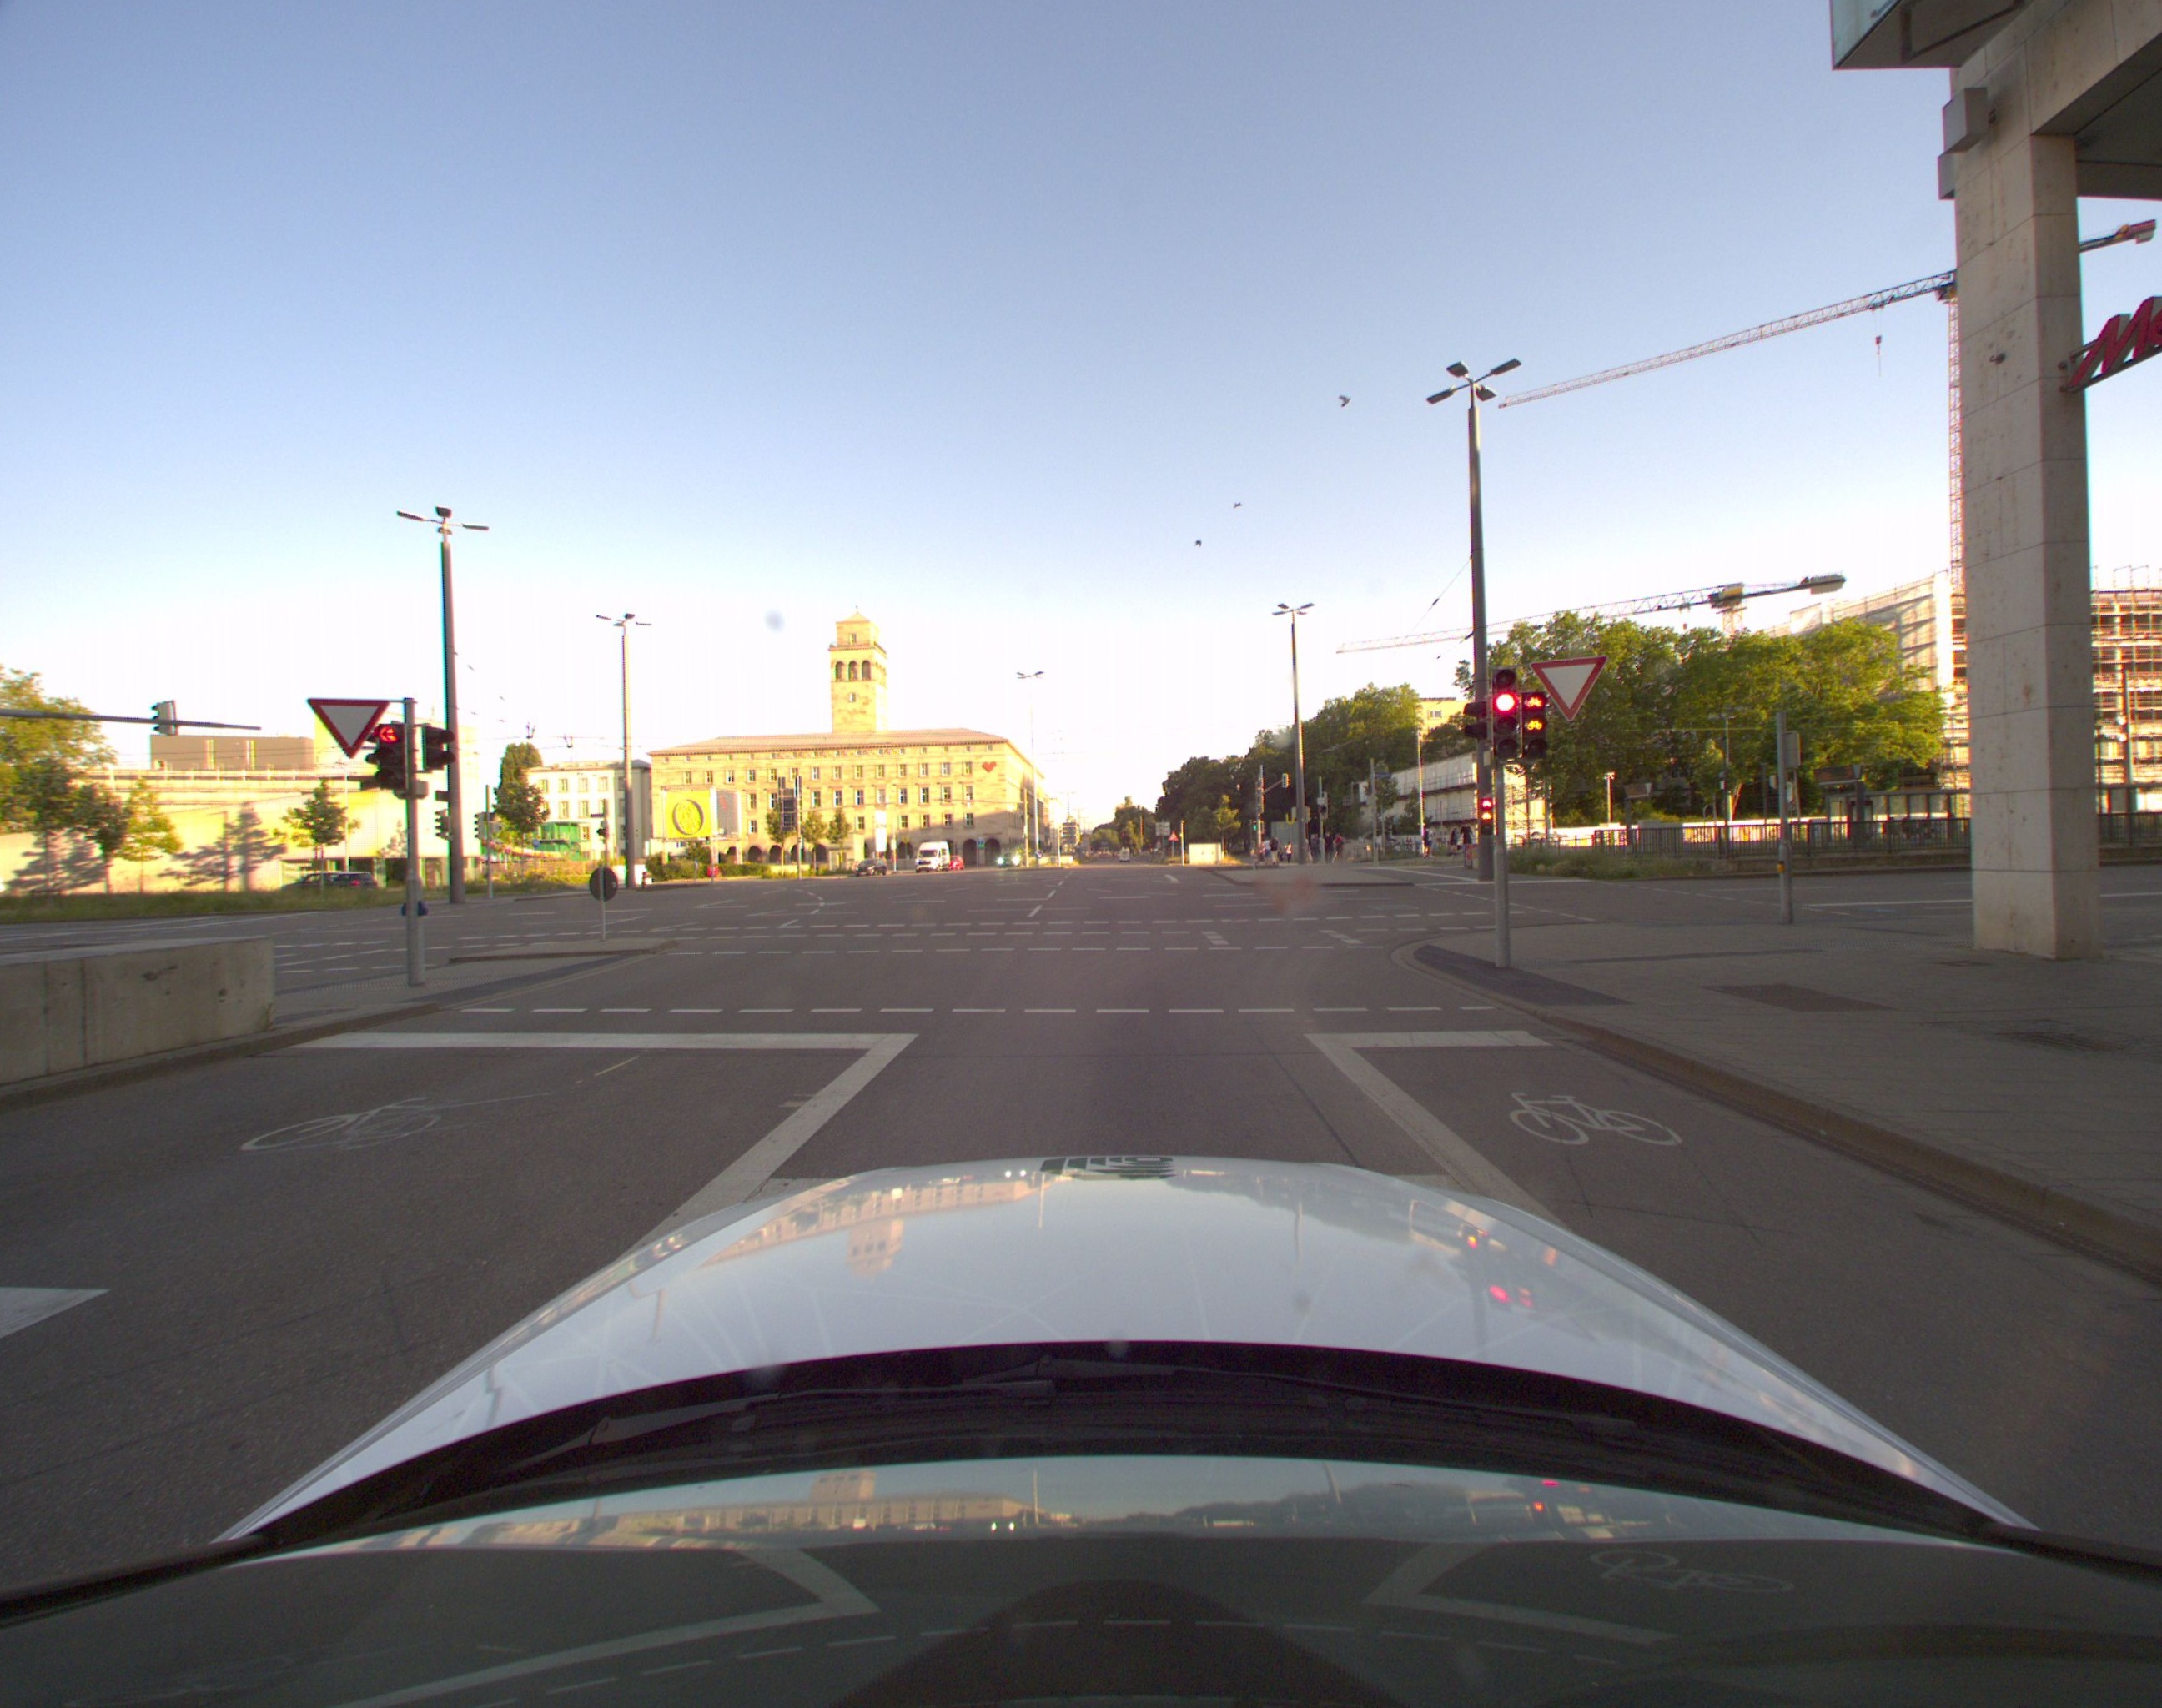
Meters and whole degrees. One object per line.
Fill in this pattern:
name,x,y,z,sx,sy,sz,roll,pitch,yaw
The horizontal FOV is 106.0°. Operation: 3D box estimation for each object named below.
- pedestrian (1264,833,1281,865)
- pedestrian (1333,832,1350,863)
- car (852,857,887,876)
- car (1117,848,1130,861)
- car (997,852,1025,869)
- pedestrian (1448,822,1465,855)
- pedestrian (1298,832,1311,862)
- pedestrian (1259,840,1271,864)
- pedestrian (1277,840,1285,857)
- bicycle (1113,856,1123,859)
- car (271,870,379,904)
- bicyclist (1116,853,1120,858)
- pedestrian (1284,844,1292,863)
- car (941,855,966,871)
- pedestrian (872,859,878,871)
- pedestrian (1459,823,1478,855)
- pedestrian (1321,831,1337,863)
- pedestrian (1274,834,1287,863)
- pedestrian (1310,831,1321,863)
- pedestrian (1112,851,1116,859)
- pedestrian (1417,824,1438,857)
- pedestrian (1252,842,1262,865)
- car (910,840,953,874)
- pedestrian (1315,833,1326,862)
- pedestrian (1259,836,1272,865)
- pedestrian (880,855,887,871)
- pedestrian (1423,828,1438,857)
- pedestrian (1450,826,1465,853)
pedestrian,10.629,-0.280,45.137,0.704,1.725,0.920,-2,1,26
pedestrian,14.792,-0.372,46.290,0.838,1.734,0.708,-2,1,14
car,-18.371,1.053,70.846,1.817,1.466,4.158,-2,1,0
car,5.582,0.066,107.930,1.479,1.696,2.972,-2,0,-2
car,-6.243,0.569,72.988,1.815,1.341,4.005,-2,1,4
pedestrian,19.839,-0.806,43.036,0.705,1.725,0.672,-2,0,19
pedestrian,12.990,-0.393,47.322,0.705,1.725,0.918,-2,1,14
pedestrian,13.661,-0.170,60.303,0.673,1.757,0.907,-2,1,22
pedestrian,21.286,-0.578,86.693,0.662,1.842,0.714,-2,1,7
bicycle,10.208,0.976,222.989,2.605,0.959,0.512,0,-1,-14
car,-41.678,1.792,44.966,4.113,1.604,1.742,-2,0,-4
bicyclist,10.199,0.413,223.012,0.831,1.463,0.658,-2,0,-13
pedestrian,15.432,-0.043,60.723,0.568,1.437,0.641,-2,1,13
car,-12.756,0.863,81.588,1.732,1.487,4.002,-2,1,2
pedestrian,-21.635,1.158,85.406,0.504,1.300,0.700,0,-1,-3
pedestrian,21.378,-0.843,44.918,0.708,1.725,0.668,-2,0,1
pedestrian,14.041,-0.396,46.069,0.799,1.791,0.804,-2,1,16
pedestrian,12.204,-0.321,49.840,0.705,1.725,0.671,-2,1,15
pedestrian,13.370,-0.427,46.428,0.568,1.791,0.641,-2,1,16
pedestrian,7.969,0.235,194.527,0.903,1.671,1.307,-2,1,1
pedestrian,18.296,-0.717,42.997,0.671,1.725,0.705,-2,0,-34
pedestrian,13.078,-0.035,60.554,0.555,1.654,0.907,-2,1,22
car,-13.290,0.228,72.982,2.269,2.776,6.090,-2,0,4
pedestrian,14.038,-0.366,47.786,0.568,1.678,0.641,-2,1,16
pedestrian,11.306,-0.205,49.957,0.705,1.725,0.671,-2,1,15
pedestrian,-20.868,0.953,86.039,0.620,1.744,0.459,0,-1,-4
pedestrian,19.062,-0.624,44.419,0.569,1.592,0.537,-2,0,1
pedestrian,20.255,-0.794,43.788,0.670,1.441,0.718,-2,0,24
